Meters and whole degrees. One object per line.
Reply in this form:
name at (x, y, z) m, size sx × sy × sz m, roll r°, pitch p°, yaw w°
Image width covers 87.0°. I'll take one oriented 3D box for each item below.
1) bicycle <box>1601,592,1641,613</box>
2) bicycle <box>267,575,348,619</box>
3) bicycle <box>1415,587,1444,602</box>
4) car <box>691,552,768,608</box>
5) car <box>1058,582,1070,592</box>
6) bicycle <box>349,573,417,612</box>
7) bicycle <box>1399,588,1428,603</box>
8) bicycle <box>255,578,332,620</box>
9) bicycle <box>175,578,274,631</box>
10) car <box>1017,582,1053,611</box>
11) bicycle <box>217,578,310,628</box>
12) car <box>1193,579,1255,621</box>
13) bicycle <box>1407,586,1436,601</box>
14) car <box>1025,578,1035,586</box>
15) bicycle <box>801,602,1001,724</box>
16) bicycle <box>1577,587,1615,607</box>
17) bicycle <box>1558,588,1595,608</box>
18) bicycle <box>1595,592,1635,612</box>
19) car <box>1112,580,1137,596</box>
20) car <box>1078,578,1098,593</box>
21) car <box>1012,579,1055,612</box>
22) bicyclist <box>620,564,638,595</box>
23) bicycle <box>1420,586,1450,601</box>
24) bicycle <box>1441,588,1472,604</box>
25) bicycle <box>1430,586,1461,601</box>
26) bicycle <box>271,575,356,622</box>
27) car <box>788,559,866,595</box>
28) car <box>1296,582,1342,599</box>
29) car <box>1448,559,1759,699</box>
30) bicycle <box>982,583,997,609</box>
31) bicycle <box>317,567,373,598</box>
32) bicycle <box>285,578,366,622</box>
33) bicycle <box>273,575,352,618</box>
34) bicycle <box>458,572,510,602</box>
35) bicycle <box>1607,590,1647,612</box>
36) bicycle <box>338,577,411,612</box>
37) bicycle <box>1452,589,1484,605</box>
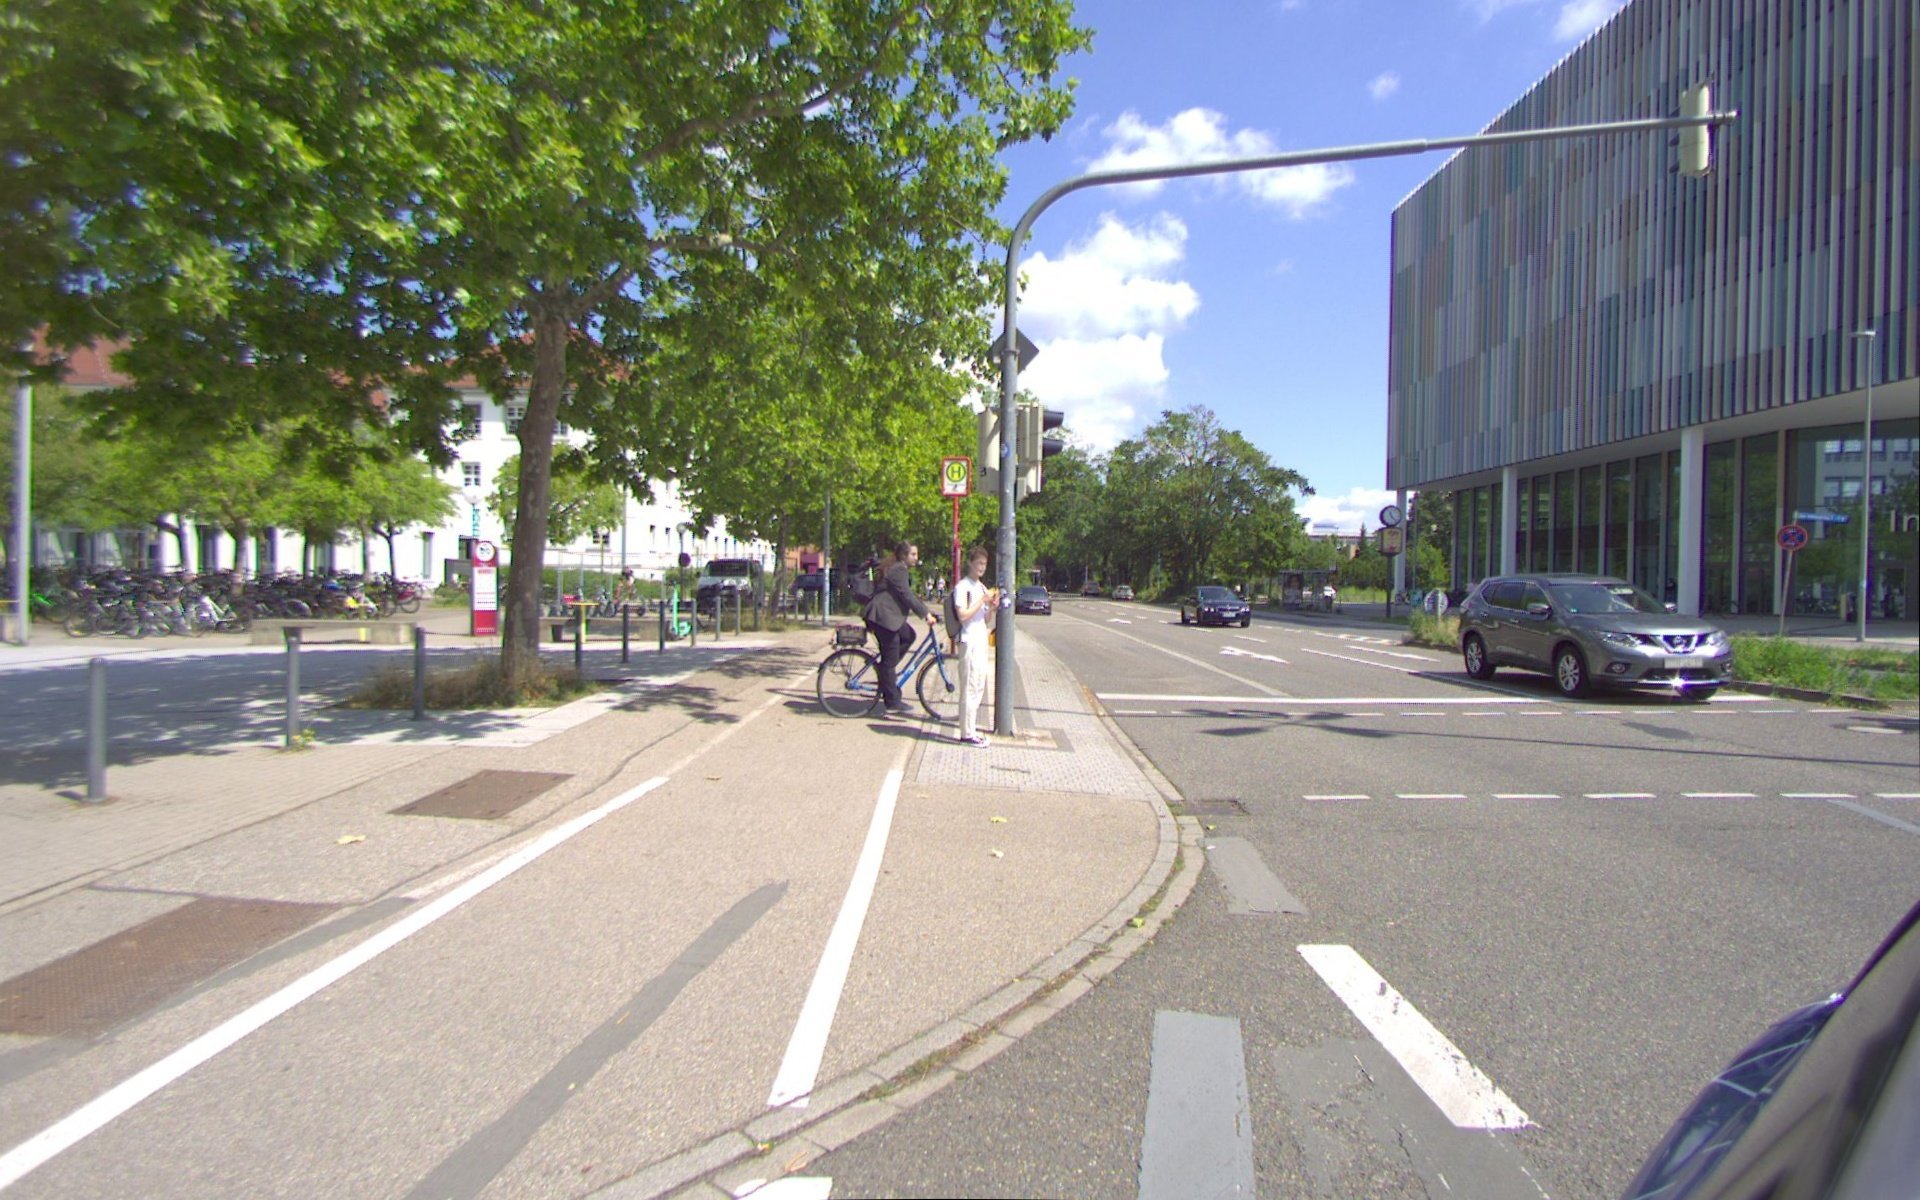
bicycle at (31.226, 0.113, 47.805) m, size 1.525 × 0.967 × 0.372 m, roll 0°, pitch 1°, yaw 17°
bicycle at (-16.967, -0.083, 26.350) m, size 1.732 × 1.112 × 0.604 m, roll 0°, pitch 1°, yaw -30°
bicycle at (31.407, -0.384, 67.729) m, size 1.752 × 0.967 × 0.433 m, roll -1°, pitch 1°, yaw 1°
car at (-8.325, -0.741, 36.947) m, size 1.867 × 1.888 × 4.945 m, roll 0°, pitch 1°, yaw -2°
car at (16.591, -2.079, 161.617) m, size 1.867 × 1.530 × 3.823 m, roll -1°, pitch 2°, yaw 6°
bicycle at (-17.326, -0.226, 30.400) m, size 1.732 × 1.112 × 0.604 m, roll -2°, pitch 1°, yaw -30°
bicycle at (31.278, -0.299, 69.793) m, size 1.752 × 0.967 × 0.433 m, roll -1°, pitch 1°, yaw 1°
bicycle at (-18.235, -0.027, 27.730) m, size 1.732 × 1.113 × 0.604 m, roll 0°, pitch 0°, yaw -30°
bicycle at (-16.520, 0.085, 22.781) m, size 1.732 × 1.112 × 0.604 m, roll -2°, pitch 1°, yaw -30°
car at (4.231, -0.201, 56.413) m, size 1.714 × 1.468 × 4.931 m, roll 2°, pitch 1°, yaw 7°
bicycle at (-16.282, 0.056, 23.699) m, size 1.732 × 1.112 × 0.604 m, roll -2°, pitch 1°, yaw -30°
car at (9.610, -0.034, 37.132) m, size 1.800 × 1.433 × 4.180 m, roll 0°, pitch 1°, yaw 9°
bicycle at (31.350, -0.440, 68.735) m, size 1.752 × 0.967 × 0.433 m, roll -1°, pitch 1°, yaw 1°
car at (13.994, -3.572, 201.866) m, size 1.867 × 1.530 × 3.823 m, roll -1°, pitch 2°, yaw 6°
bicycle at (-0.621, 0.638, 10.411) m, size 1.851 × 1.085 × 0.820 m, roll 3°, pitch 2°, yaw -16°
bicycle at (31.194, -0.135, 49.660) m, size 1.525 × 0.967 × 0.372 m, roll 0°, pitch 1°, yaw 17°
bicycle at (30.979, -0.091, 50.884) m, size 1.525 × 0.967 × 0.372 m, roll 0°, pitch 1°, yaw 17°
bicycle at (31.358, 0.092, 48.470) m, size 1.525 × 0.967 × 0.372 m, roll 0°, pitch 1°, yaw 17°
car at (15.824, -1.166, 97.572) m, size 1.964 × 1.438 × 3.996 m, roll 1°, pitch 1°, yaw 4°
car at (15.976, -1.848, 126.557) m, size 1.867 × 1.834 × 4.734 m, roll 1°, pitch 1°, yaw -1°
car at (3.653, -0.224, 51.161) m, size 1.828 × 1.497 × 4.940 m, roll 3°, pitch 0°, yaw 1°
bicyclist at (-14.662, -0.931, 44.879) m, size 0.595 × 1.337 × 0.744 m, roll 2°, pitch 1°, yaw -8°
bicycle at (31.430, -0.434, 66.947) m, size 1.752 × 0.967 × 0.433 m, roll -1°, pitch 1°, yaw 1°
bicycle at (31.378, -0.263, 63.933) m, size 1.752 × 0.967 × 0.433 m, roll -1°, pitch 1°, yaw 1°
bicycle at (31.288, -0.425, 65.250) m, size 1.752 × 0.967 × 0.433 m, roll -1°, pitch 1°, yaw 1°
bicycle at (-16.048, -0.046, 25.174) m, size 1.732 × 1.112 × 0.604 m, roll -2°, pitch 1°, yaw -30°
car at (-7.003, -1.244, 53.650) m, size 3.922 × 1.805 × 2.001 m, roll -1°, pitch 1°, yaw -2°
car at (33.667, -0.887, 94.953) m, size 3.762 × 1.530 × 1.897 m, roll -1°, pitch 1°, yaw 7°
car at (8.995, 0.326, 14.695) m, size 1.792 × 1.700 × 4.475 m, roll -1°, pitch 1°, yaw 3°
bicycle at (1.445, -0.215, 49.219) m, size 0.628 × 1.205 × 2.119 m, roll 2°, pitch 1°, yaw 0°
bicycle at (-22.453, -0.653, 36.970) m, size 1.733 × 1.112 × 0.604 m, roll -2°, pitch 1°, yaw -30°
bicycle at (-16.274, -0.009, 25.996) m, size 1.732 × 1.113 × 0.604 m, roll 0°, pitch 0°, yaw -30°
bicycle at (-17.266, -0.079, 27.033) m, size 1.732 × 1.113 × 0.604 m, roll 1°, pitch 0°, yaw -30°
bicycle at (-17.978, -0.492, 38.234) m, size 1.733 × 1.112 × 0.516 m, roll -2°, pitch 1°, yaw -30°
bicycle at (31.116, 0.046, 47.231) m, size 1.525 × 0.967 × 0.372 m, roll 0°, pitch 1°, yaw 17°
bicycle at (-16.386, -0.158, 28.345) m, size 1.732 × 0.966 × 0.604 m, roll 0°, pitch 0°, yaw -30°
bicycle at (31.511, -0.173, 62.822) m, size 1.752 × 0.967 × 0.433 m, roll -1°, pitch 1°, yaw 1°
